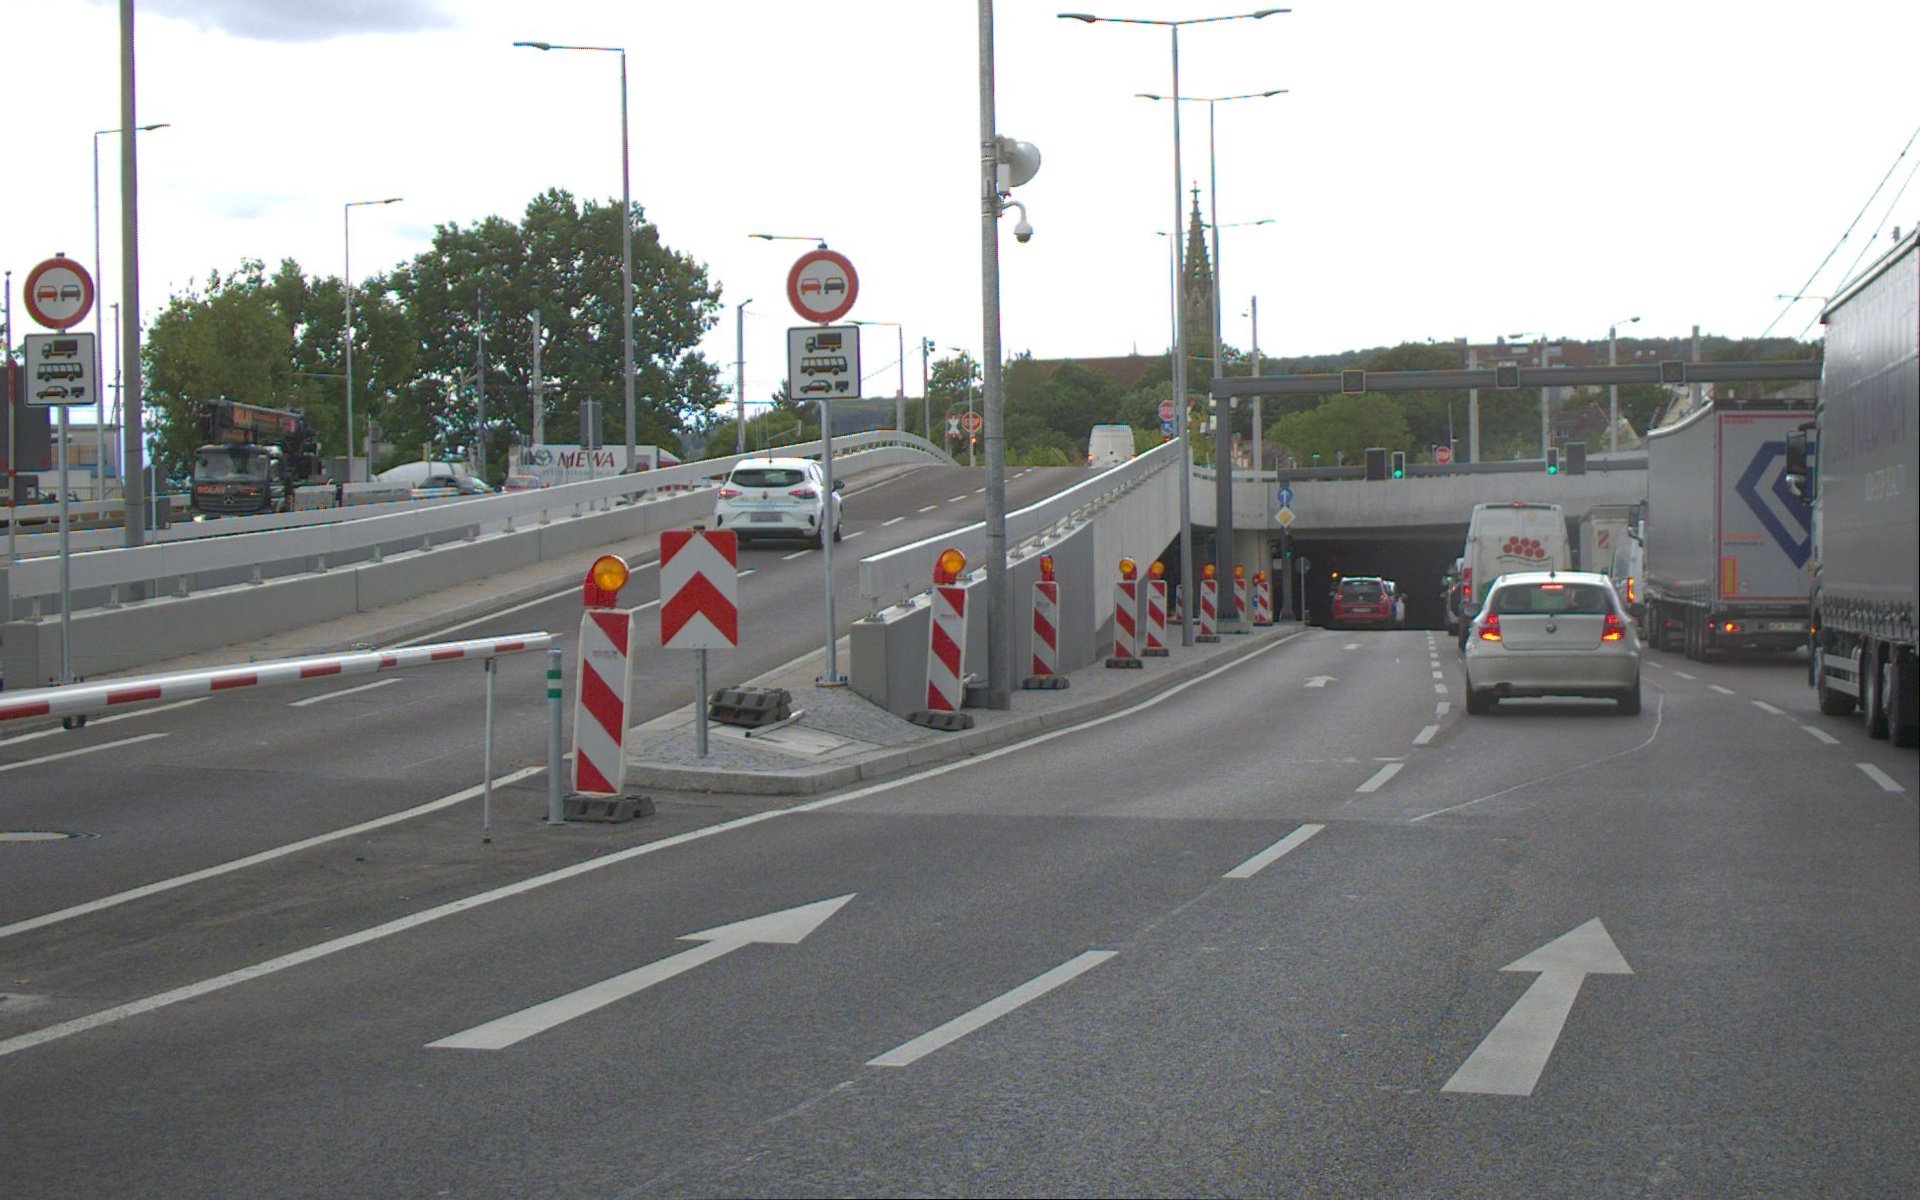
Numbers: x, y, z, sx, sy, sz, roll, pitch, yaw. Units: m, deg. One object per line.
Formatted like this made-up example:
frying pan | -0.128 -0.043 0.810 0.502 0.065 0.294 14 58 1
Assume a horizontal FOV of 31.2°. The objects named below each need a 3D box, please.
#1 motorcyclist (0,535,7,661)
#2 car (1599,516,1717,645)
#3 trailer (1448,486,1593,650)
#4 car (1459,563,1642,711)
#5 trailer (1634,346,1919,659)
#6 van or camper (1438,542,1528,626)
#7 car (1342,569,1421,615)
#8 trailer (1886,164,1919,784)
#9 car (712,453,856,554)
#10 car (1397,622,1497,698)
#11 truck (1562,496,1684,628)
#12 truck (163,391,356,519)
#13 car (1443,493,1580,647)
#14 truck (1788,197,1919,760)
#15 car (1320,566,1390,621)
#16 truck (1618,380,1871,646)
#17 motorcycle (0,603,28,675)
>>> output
motorcyclist | -12.611 -0.027 43.394 0.665 1.600 1.102 1 0 11
car | 15.794 -0.463 78.126 2.076 2.764 7.324 1 1 7
trailer | 9.705 -0.535 59.850 2.104 2.630 4.808 3 0 6
car | 6.073 0.349 35.570 1.717 1.393 4.346 1 0 9
trailer | 13.591 -1.505 57.088 3.806 4.615 12.110 1 1 7
van or camper | 12.716 -0.361 83.794 1.994 1.839 5.506 1 -1 7
car | 13.023 -0.263 106.392 1.993 1.382 4.000 1 1 1
trailer | 7.646 -0.818 19.605 3.726 4.127 10.978 1 0 11
car | -2.801 -1.532 55.569 1.744 1.428 3.775 3 0 5
car | 10.887 1.333 77.038 1.682 1.539 3.693 2 1 1
truck | 16.798 -0.914 87.467 2.650 3.174 7.423 -1 0 8
truck | -19.784 -4.182 97.813 2.733 3.378 10.620 2 3 3
car | 10.128 -0.523 63.559 2.058 2.619 5.941 3 0 6
truck | 9.679 -0.904 30.369 3.726 4.127 10.979 1 0 9
car | 11.337 -0.161 98.812 1.660 1.483 3.567 0 -1 1
truck | 14.456 -1.562 64.011 3.806 4.615 7.440 1 0 7
motorcycle | -12.620 0.487 43.379 0.665 0.914 2.393 1 0 11
